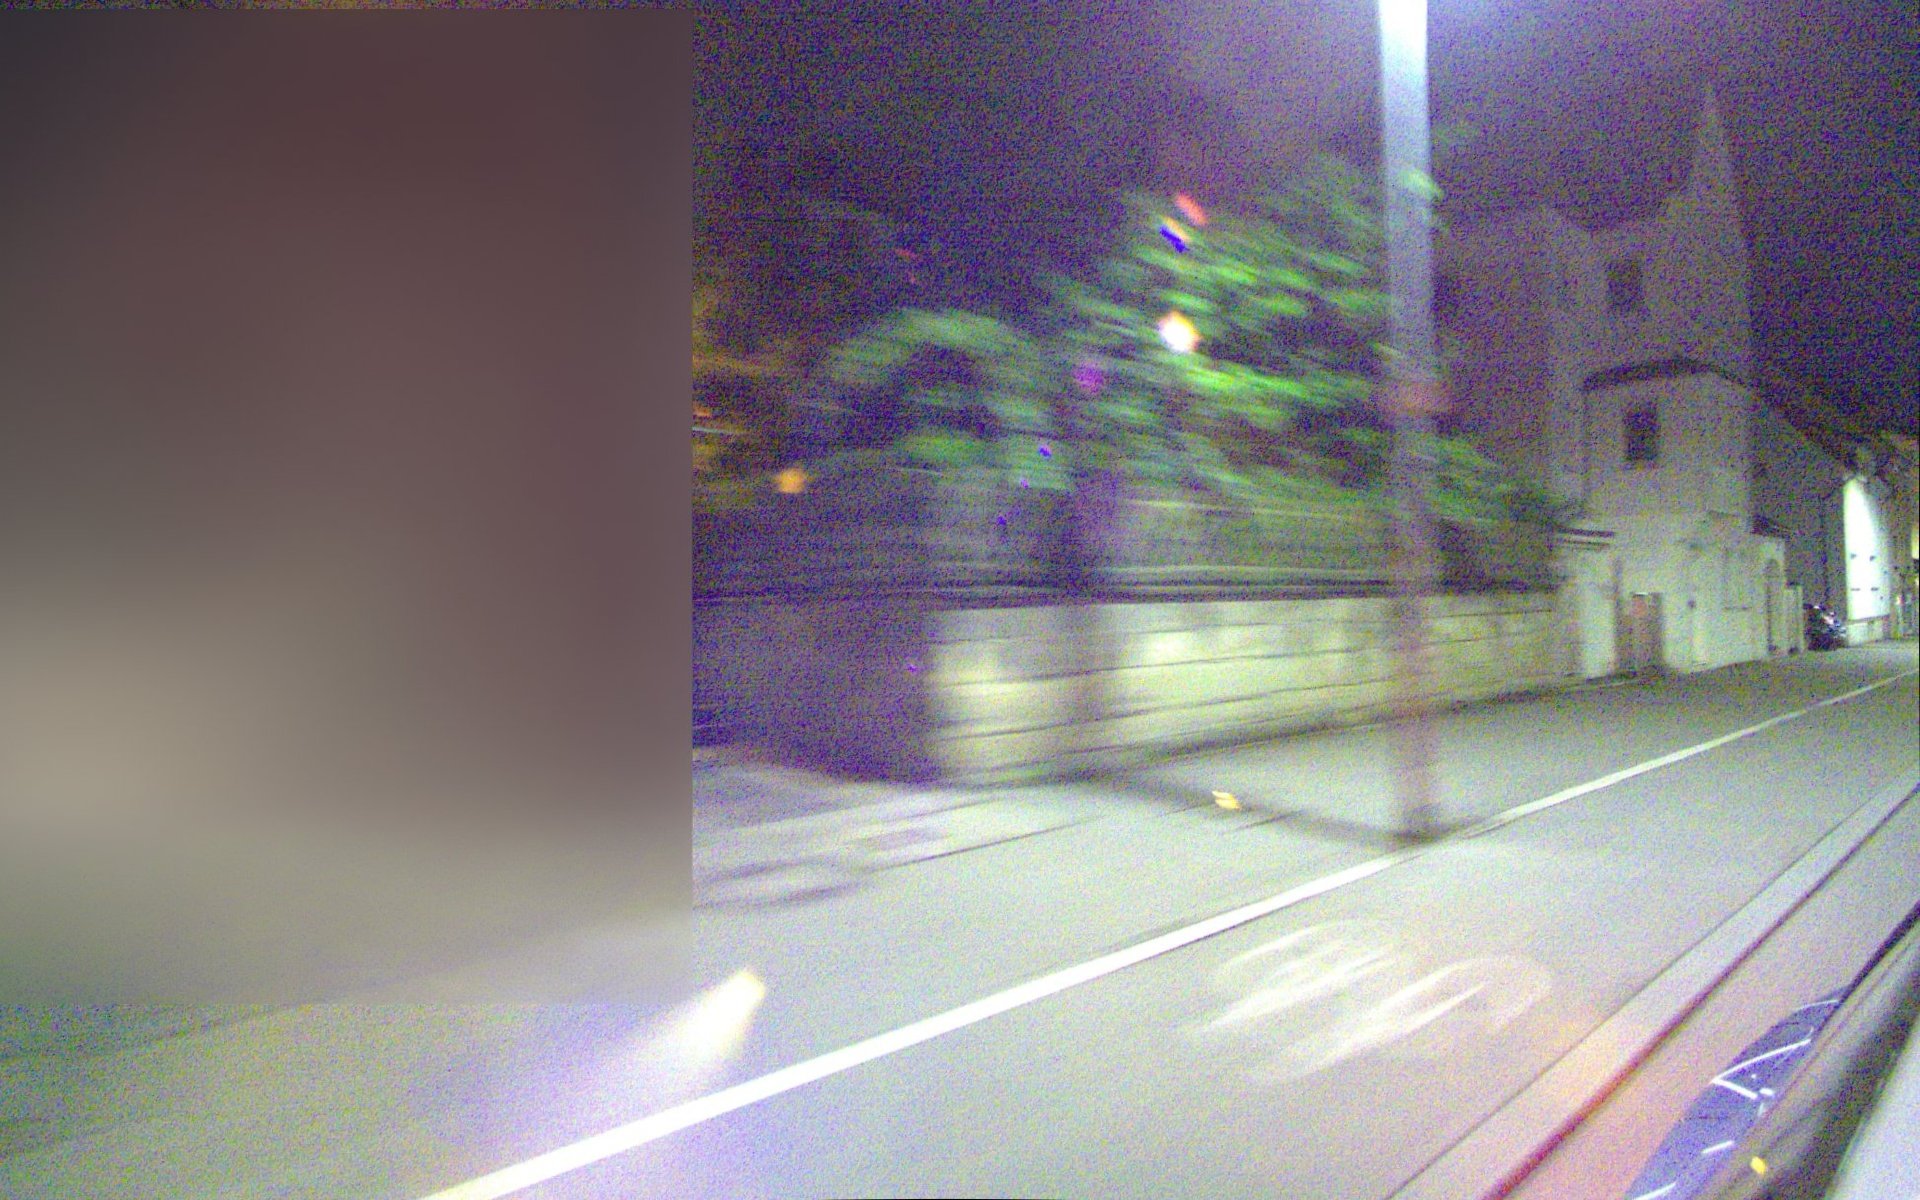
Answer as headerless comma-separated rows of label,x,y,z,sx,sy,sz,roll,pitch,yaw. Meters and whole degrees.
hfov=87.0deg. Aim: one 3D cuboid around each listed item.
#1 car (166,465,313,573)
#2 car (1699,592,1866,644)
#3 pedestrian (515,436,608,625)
car,-12.876,-1.362,17.998,1.917,1.684,3.793,0,2,-39
car,25.397,0.542,31.356,1.699,1.492,3.721,-1,0,-37
pedestrian,-4.331,-0.731,10.998,0.759,1.961,0.647,0,1,-40
